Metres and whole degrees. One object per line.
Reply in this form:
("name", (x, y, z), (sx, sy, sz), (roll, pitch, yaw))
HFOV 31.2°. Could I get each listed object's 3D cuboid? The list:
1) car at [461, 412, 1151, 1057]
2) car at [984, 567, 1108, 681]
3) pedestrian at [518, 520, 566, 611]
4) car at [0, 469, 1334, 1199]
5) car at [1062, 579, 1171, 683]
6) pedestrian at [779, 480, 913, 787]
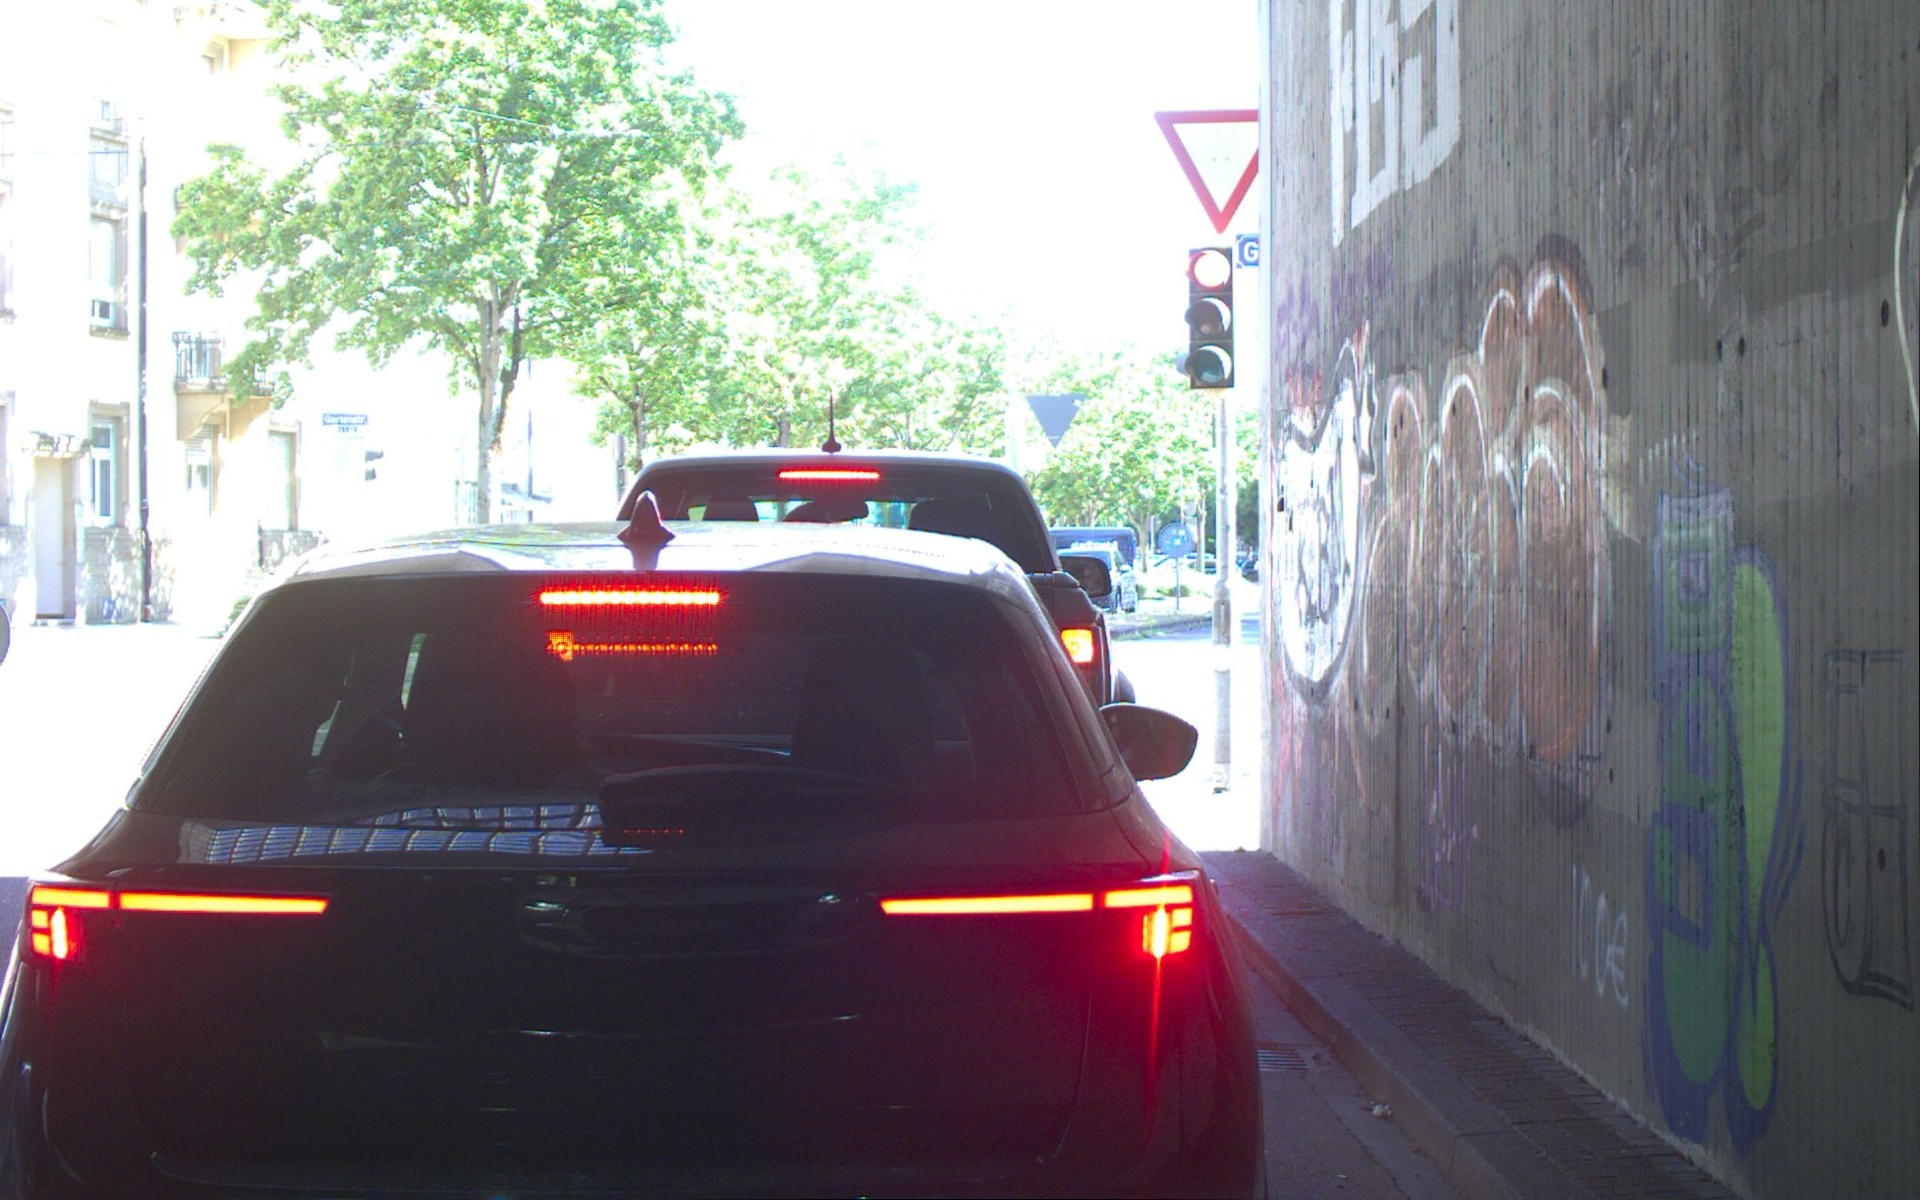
("car", (-0.468, 0.353, 12.002), (1.993, 1.865, 4.000), (0, 1, -1))
("car", (1.594, 0.406, 62.324), (1.994, 1.963, 4.163), (1, 1, 5))
("pedestrian", (-9.661, -0.803, 79.510), (0.892, 2.080, 0.808), (1, 0, 7))
("car", (-0.483, 0.570, 5.999), (1.764, 1.566, 4.001), (1, 2, -1))
("car", (3.150, 0.582, 68.458), (1.994, 1.963, 4.163), (1, 1, 5))
("pedestrian", (-0.649, 0.185, 19.876), (0.731, 1.728, 0.874), (1, 0, -1))
